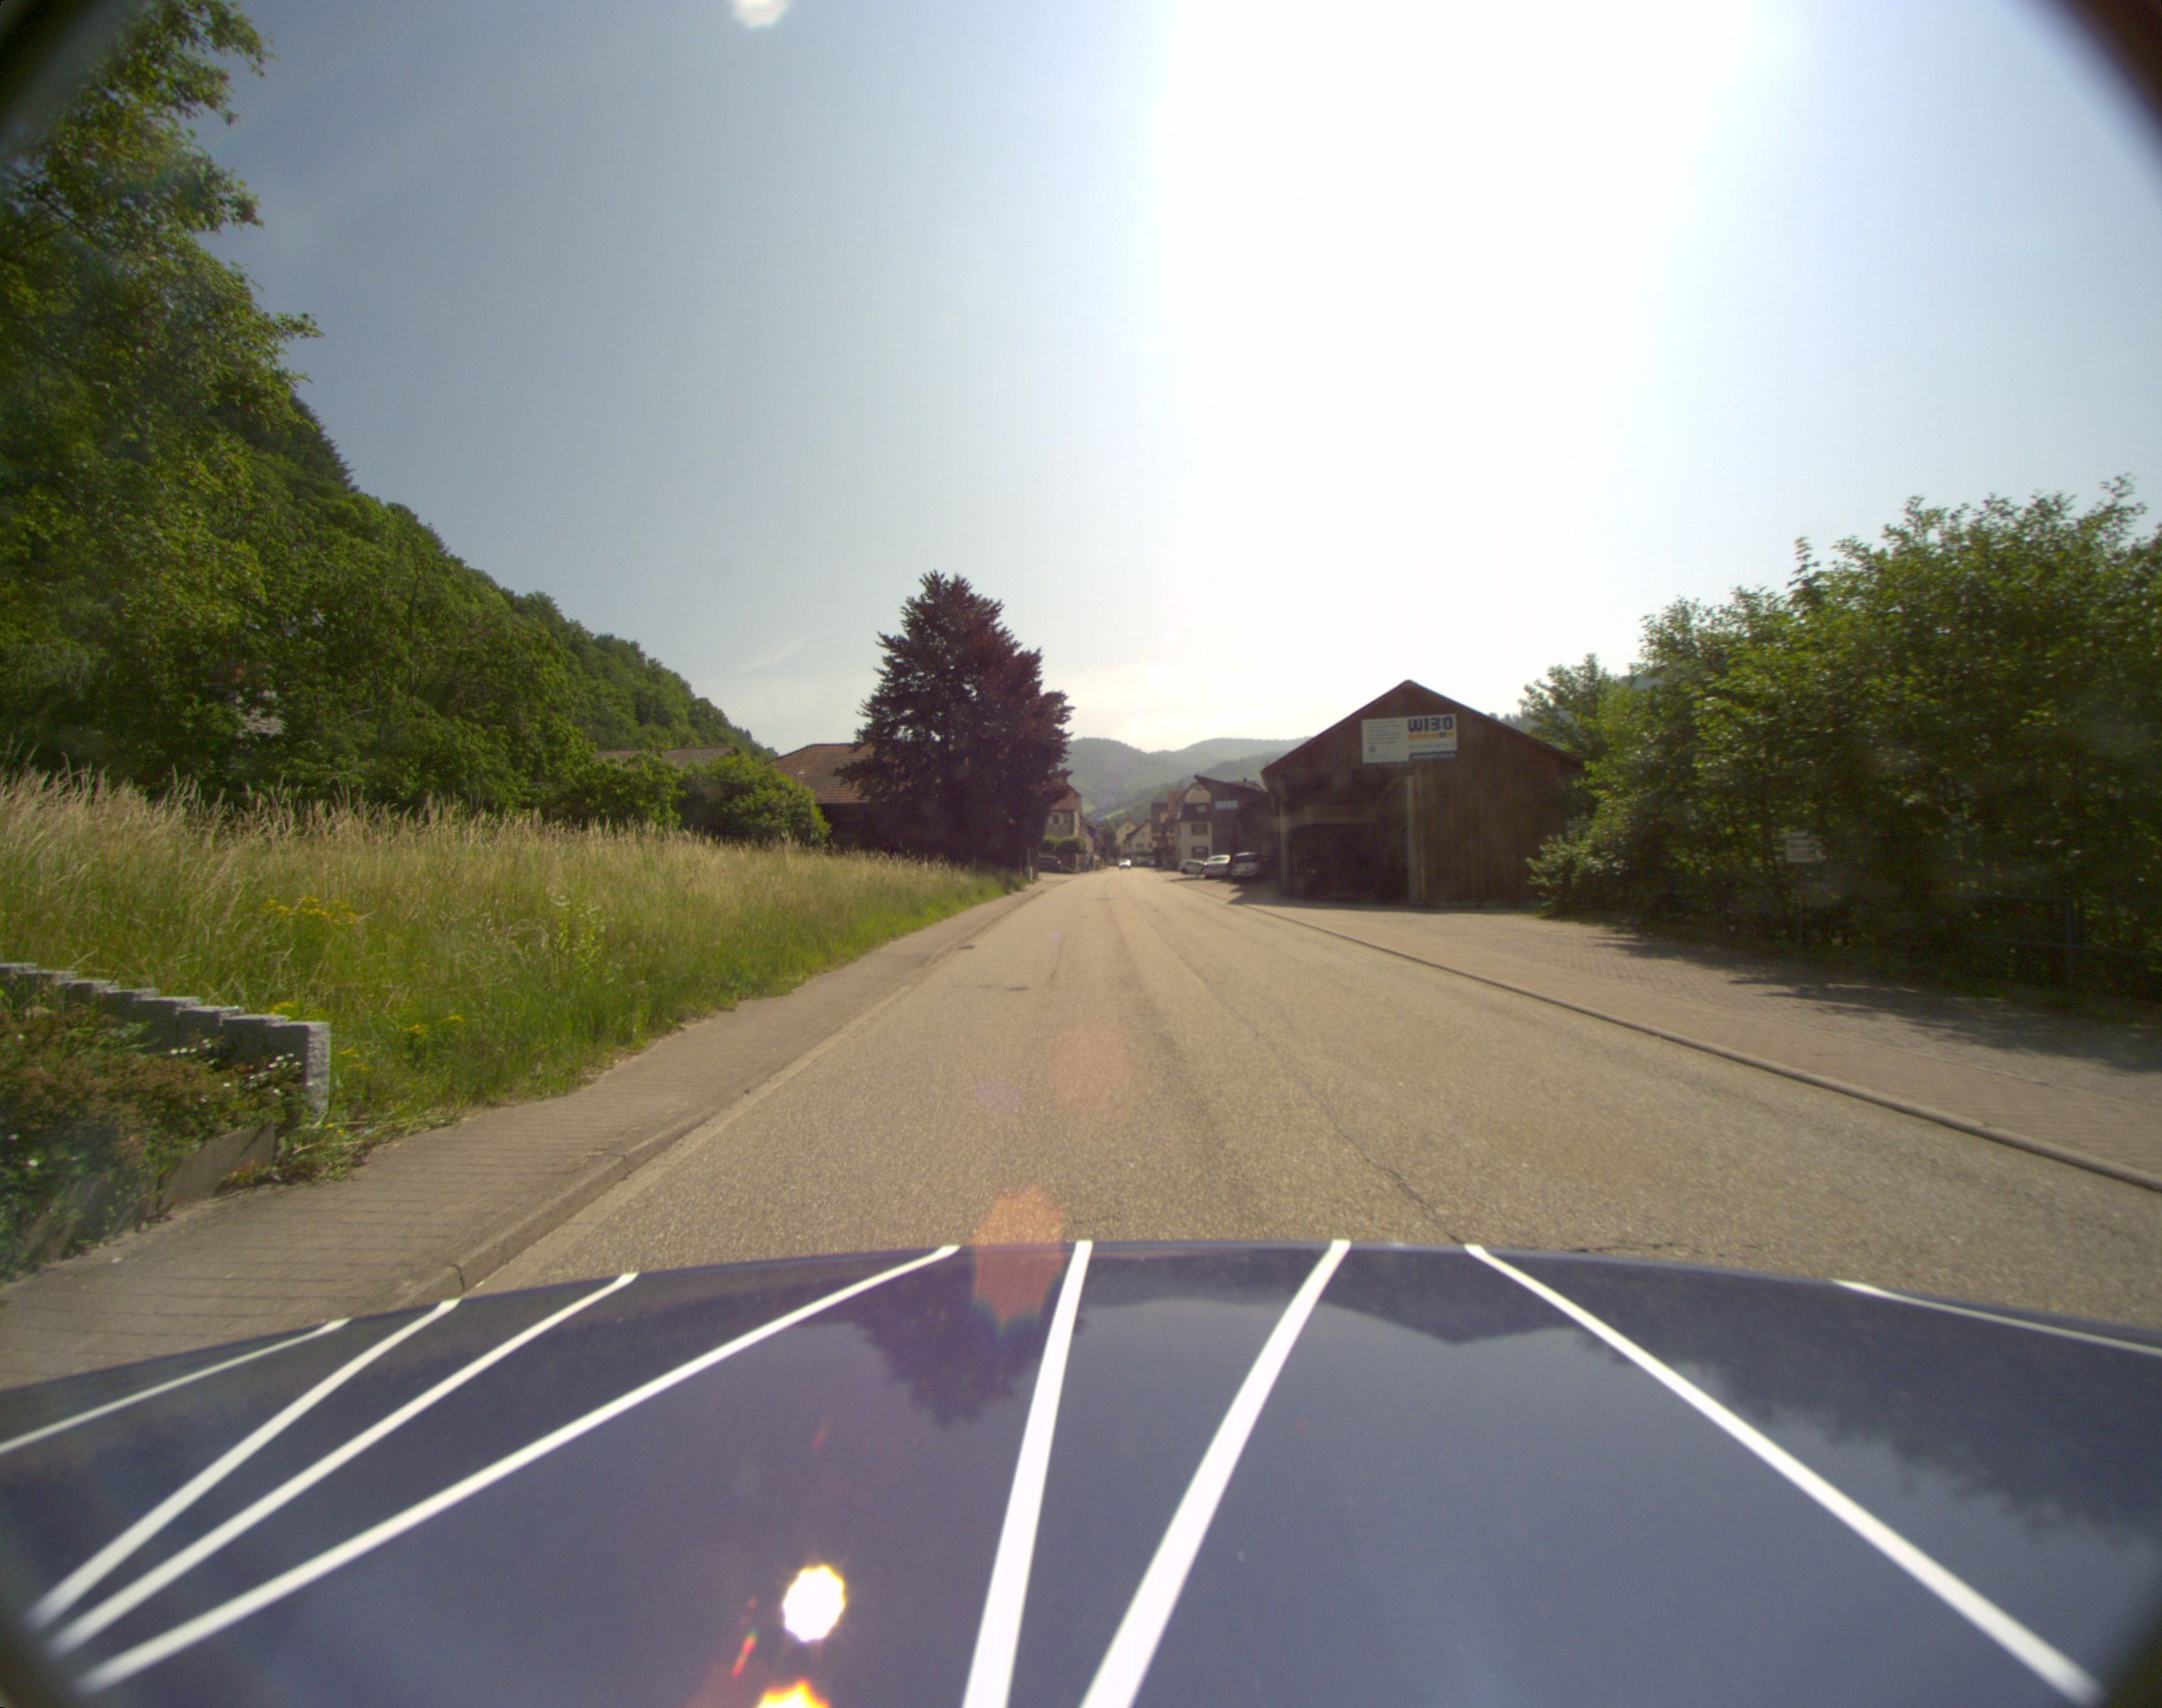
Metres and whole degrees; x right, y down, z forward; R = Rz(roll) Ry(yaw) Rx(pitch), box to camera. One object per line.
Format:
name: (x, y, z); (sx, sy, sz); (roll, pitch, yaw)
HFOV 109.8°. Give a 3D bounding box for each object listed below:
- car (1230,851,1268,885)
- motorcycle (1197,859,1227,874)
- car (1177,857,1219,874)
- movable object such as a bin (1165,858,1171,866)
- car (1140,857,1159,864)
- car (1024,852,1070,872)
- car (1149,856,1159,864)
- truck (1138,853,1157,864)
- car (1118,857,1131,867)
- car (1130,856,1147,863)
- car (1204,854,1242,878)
car: (8.876, 0.703, 39.998); (1.583, 1.560, 4.028); (-4, -1, 17)
motorcycle: (10.934, 1.060, 63.523); (2.412, 1.257, 0.744); (0, 0, 15)
car: (11.413, 1.106, 73.905); (3.662, 1.377, 1.713); (3, 1, 20)
movable object such as a bin: (12.174, 1.150, 106.417); (0.677, 1.060, 0.621); (-1, 0, 3)
car: (14.983, 1.373, 166.694); (4.104, 1.494, 1.754); (-1, 0, 3)
car: (-3.334, 0.758, 74.742); (4.228, 1.677, 1.778); (4, 1, 8)
car: (15.295, 1.274, 159.274); (1.774, 1.544, 4.286); (-2, 0, 2)
truck: (15.050, 0.981, 171.608); (4.176, 2.253, 2.000); (-2, 0, -1)
car: (7.436, 1.400, 130.244); (1.998, 1.672, 4.000); (0, 0, 1)
car: (13.554, 1.367, 179.066); (3.995, 1.563, 1.578); (1, 0, 6)
car: (9.201, 0.804, 48.912); (1.731, 1.445, 4.812); (-1, -1, 19)
